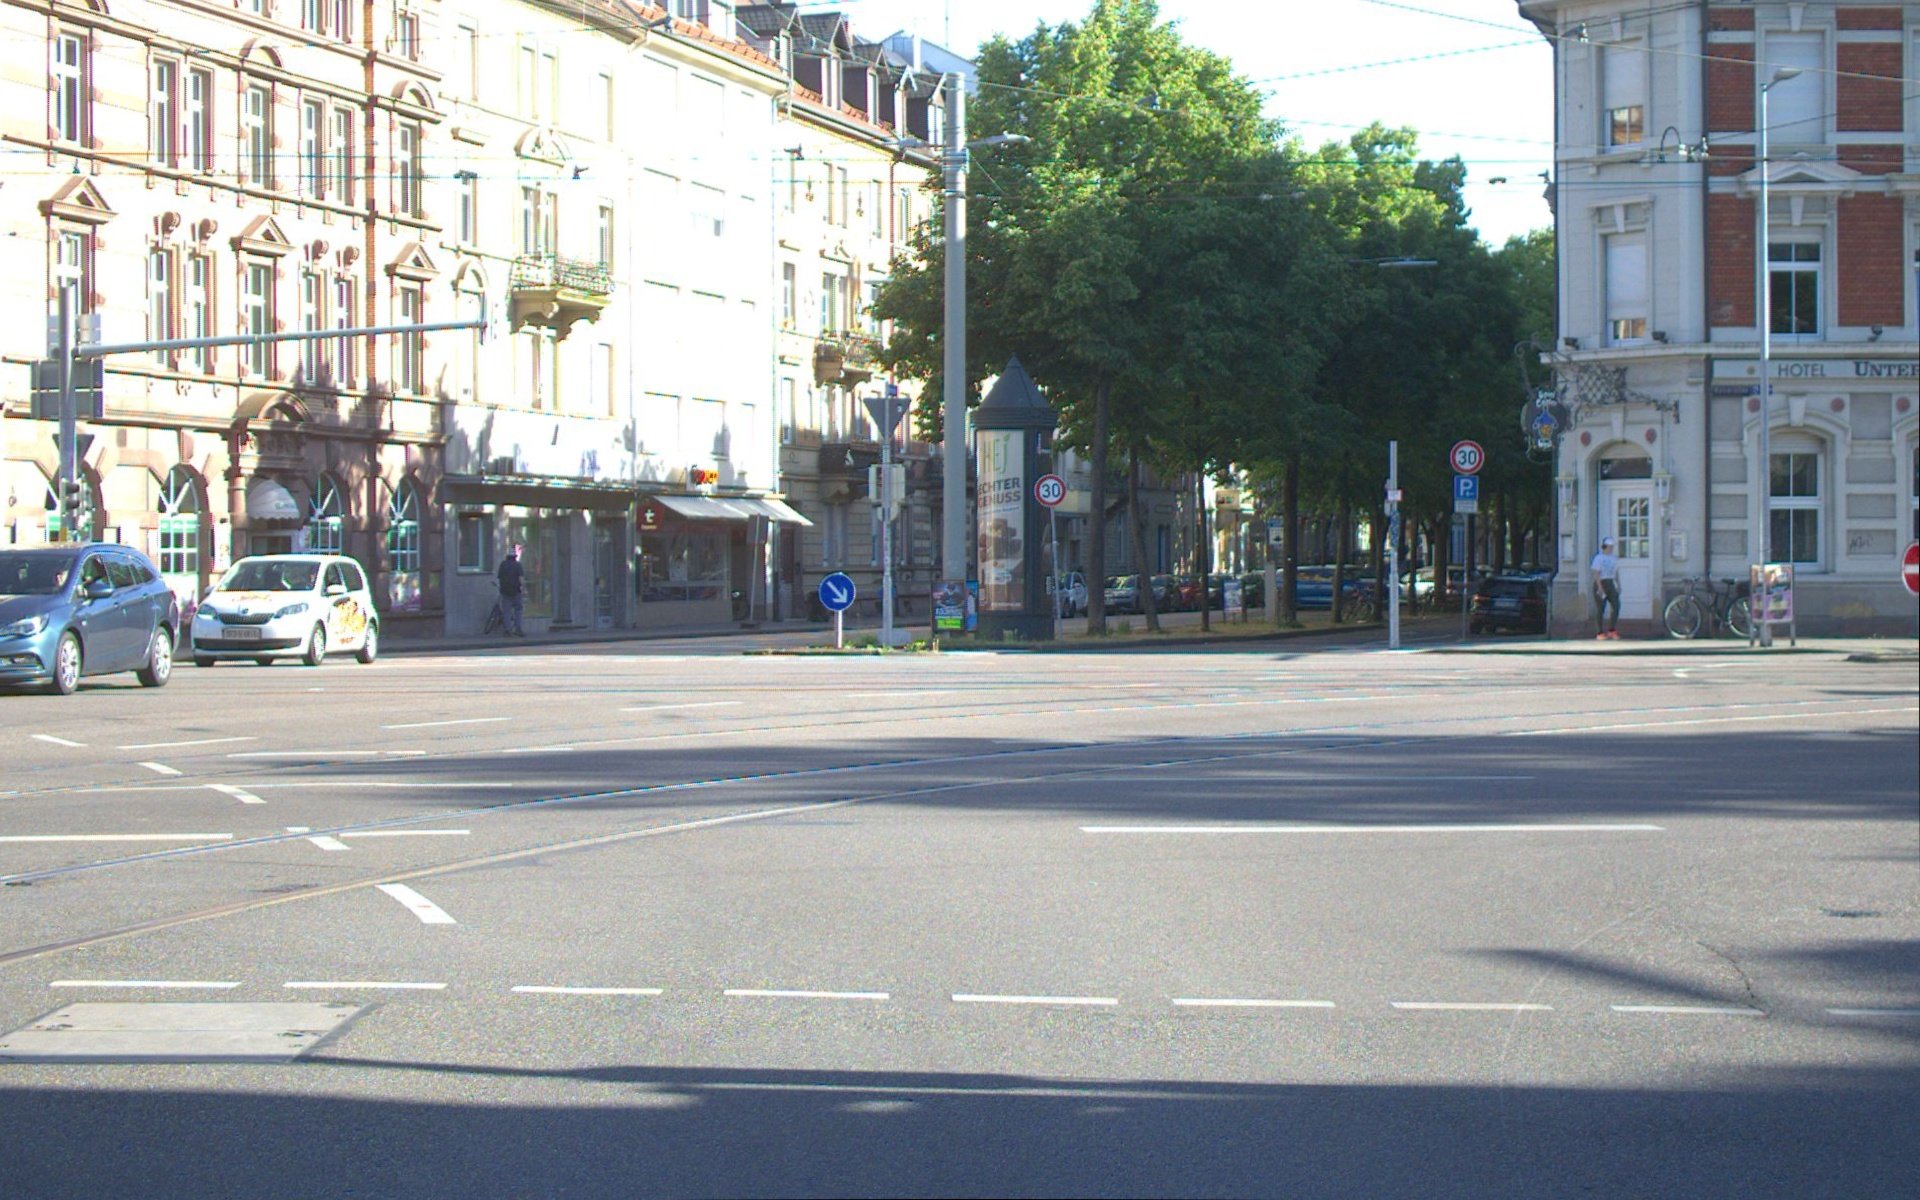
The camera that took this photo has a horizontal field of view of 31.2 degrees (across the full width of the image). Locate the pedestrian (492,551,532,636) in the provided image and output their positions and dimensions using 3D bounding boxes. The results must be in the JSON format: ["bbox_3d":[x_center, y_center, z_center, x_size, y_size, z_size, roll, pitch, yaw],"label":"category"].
[{"bbox_3d":[-10.068,-0.153,77.309,0.682,1.902,0.632,0,1,16],"label":"pedestrian"}]

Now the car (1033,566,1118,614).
[{"bbox_3d":[3.805,-0.338,112.862,1.995,1.492,4.031,0,1,14],"label":"car"}]

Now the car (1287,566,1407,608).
[{"bbox_3d":[14.440,-0.494,128.293,3.993,1.540,1.997,0,1,28],"label":"car"}]

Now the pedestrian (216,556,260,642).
[{"bbox_3d":[-13.745,-0.018,65.477,0.627,1.636,0.537,0,1,17],"label":"pedestrian"}]

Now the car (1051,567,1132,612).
[{"bbox_3d":[4.496,-0.366,117.004,1.995,1.492,4.031,0,1,14],"label":"car"}]

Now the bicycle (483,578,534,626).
[{"bbox_3d":[-10.434,0.036,79.542,0.495,1.063,1.768,0,1,16],"label":"bicycle"}]

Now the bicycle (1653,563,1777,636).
[{"bbox_3d":[12.551,-0.011,57.165,1.961,1.186,0.546,0,1,5],"label":"bicycle"}]

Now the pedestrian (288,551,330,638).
[{"bbox_3d":[-12.408,-0.106,65.539,0.551,1.636,0.632,0,1,19],"label":"pedestrian"}]

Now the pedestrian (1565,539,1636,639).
[{"bbox_3d":[10.796,-0.191,57.953,0.939,1.664,0.716,1,1,45],"label":"pedestrian"}]

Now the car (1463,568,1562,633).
[{"bbox_3d":[13.266,-0.001,82.404,1.995,1.492,4.031,0,1,14],"label":"car"}]

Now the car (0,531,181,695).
[{"bbox_3d":[-9.146,0.080,33.517,1.774,1.492,4.573,0,1,4],"label":"car"}]

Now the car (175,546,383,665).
[{"bbox_3d":[-8.911,0.039,45.243,1.718,1.492,3.583,0,1,5],"label":"car"}]

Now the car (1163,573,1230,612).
[{"bbox_3d":[9.409,-0.313,136.521,1.995,1.492,4.031,0,1,14],"label":"car"}]

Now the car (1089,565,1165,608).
[{"bbox_3d":[5.973,-0.496,122.584,1.995,1.492,4.031,0,1,14],"label":"car"}]

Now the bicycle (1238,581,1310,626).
[{"bbox_3d":[7.544,0.072,82.747,0.582,1.063,1.949,-1,1,-37],"label":"bicycle"}]

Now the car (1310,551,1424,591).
[{"bbox_3d":[15.918,-1.124,134.403,3.993,1.540,1.997,0,1,28],"label":"car"}]

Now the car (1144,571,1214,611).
[{"bbox_3d":[8.403,-0.356,131.779,1.995,1.492,4.031,0,1,14],"label":"car"}]

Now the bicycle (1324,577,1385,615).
[{"bbox_3d":[11.375,-0.131,99.239,0.582,1.063,1.949,-1,1,-37],"label":"bicycle"}]

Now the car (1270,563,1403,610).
[{"bbox_3d":[12.635,-0.452,115.484,3.993,1.540,1.997,0,1,28],"label":"car"}]

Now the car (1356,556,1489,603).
[{"bbox_3d":[15.658,-0.692,116.313,3.994,1.540,1.997,0,1,31],"label":"car"}]
